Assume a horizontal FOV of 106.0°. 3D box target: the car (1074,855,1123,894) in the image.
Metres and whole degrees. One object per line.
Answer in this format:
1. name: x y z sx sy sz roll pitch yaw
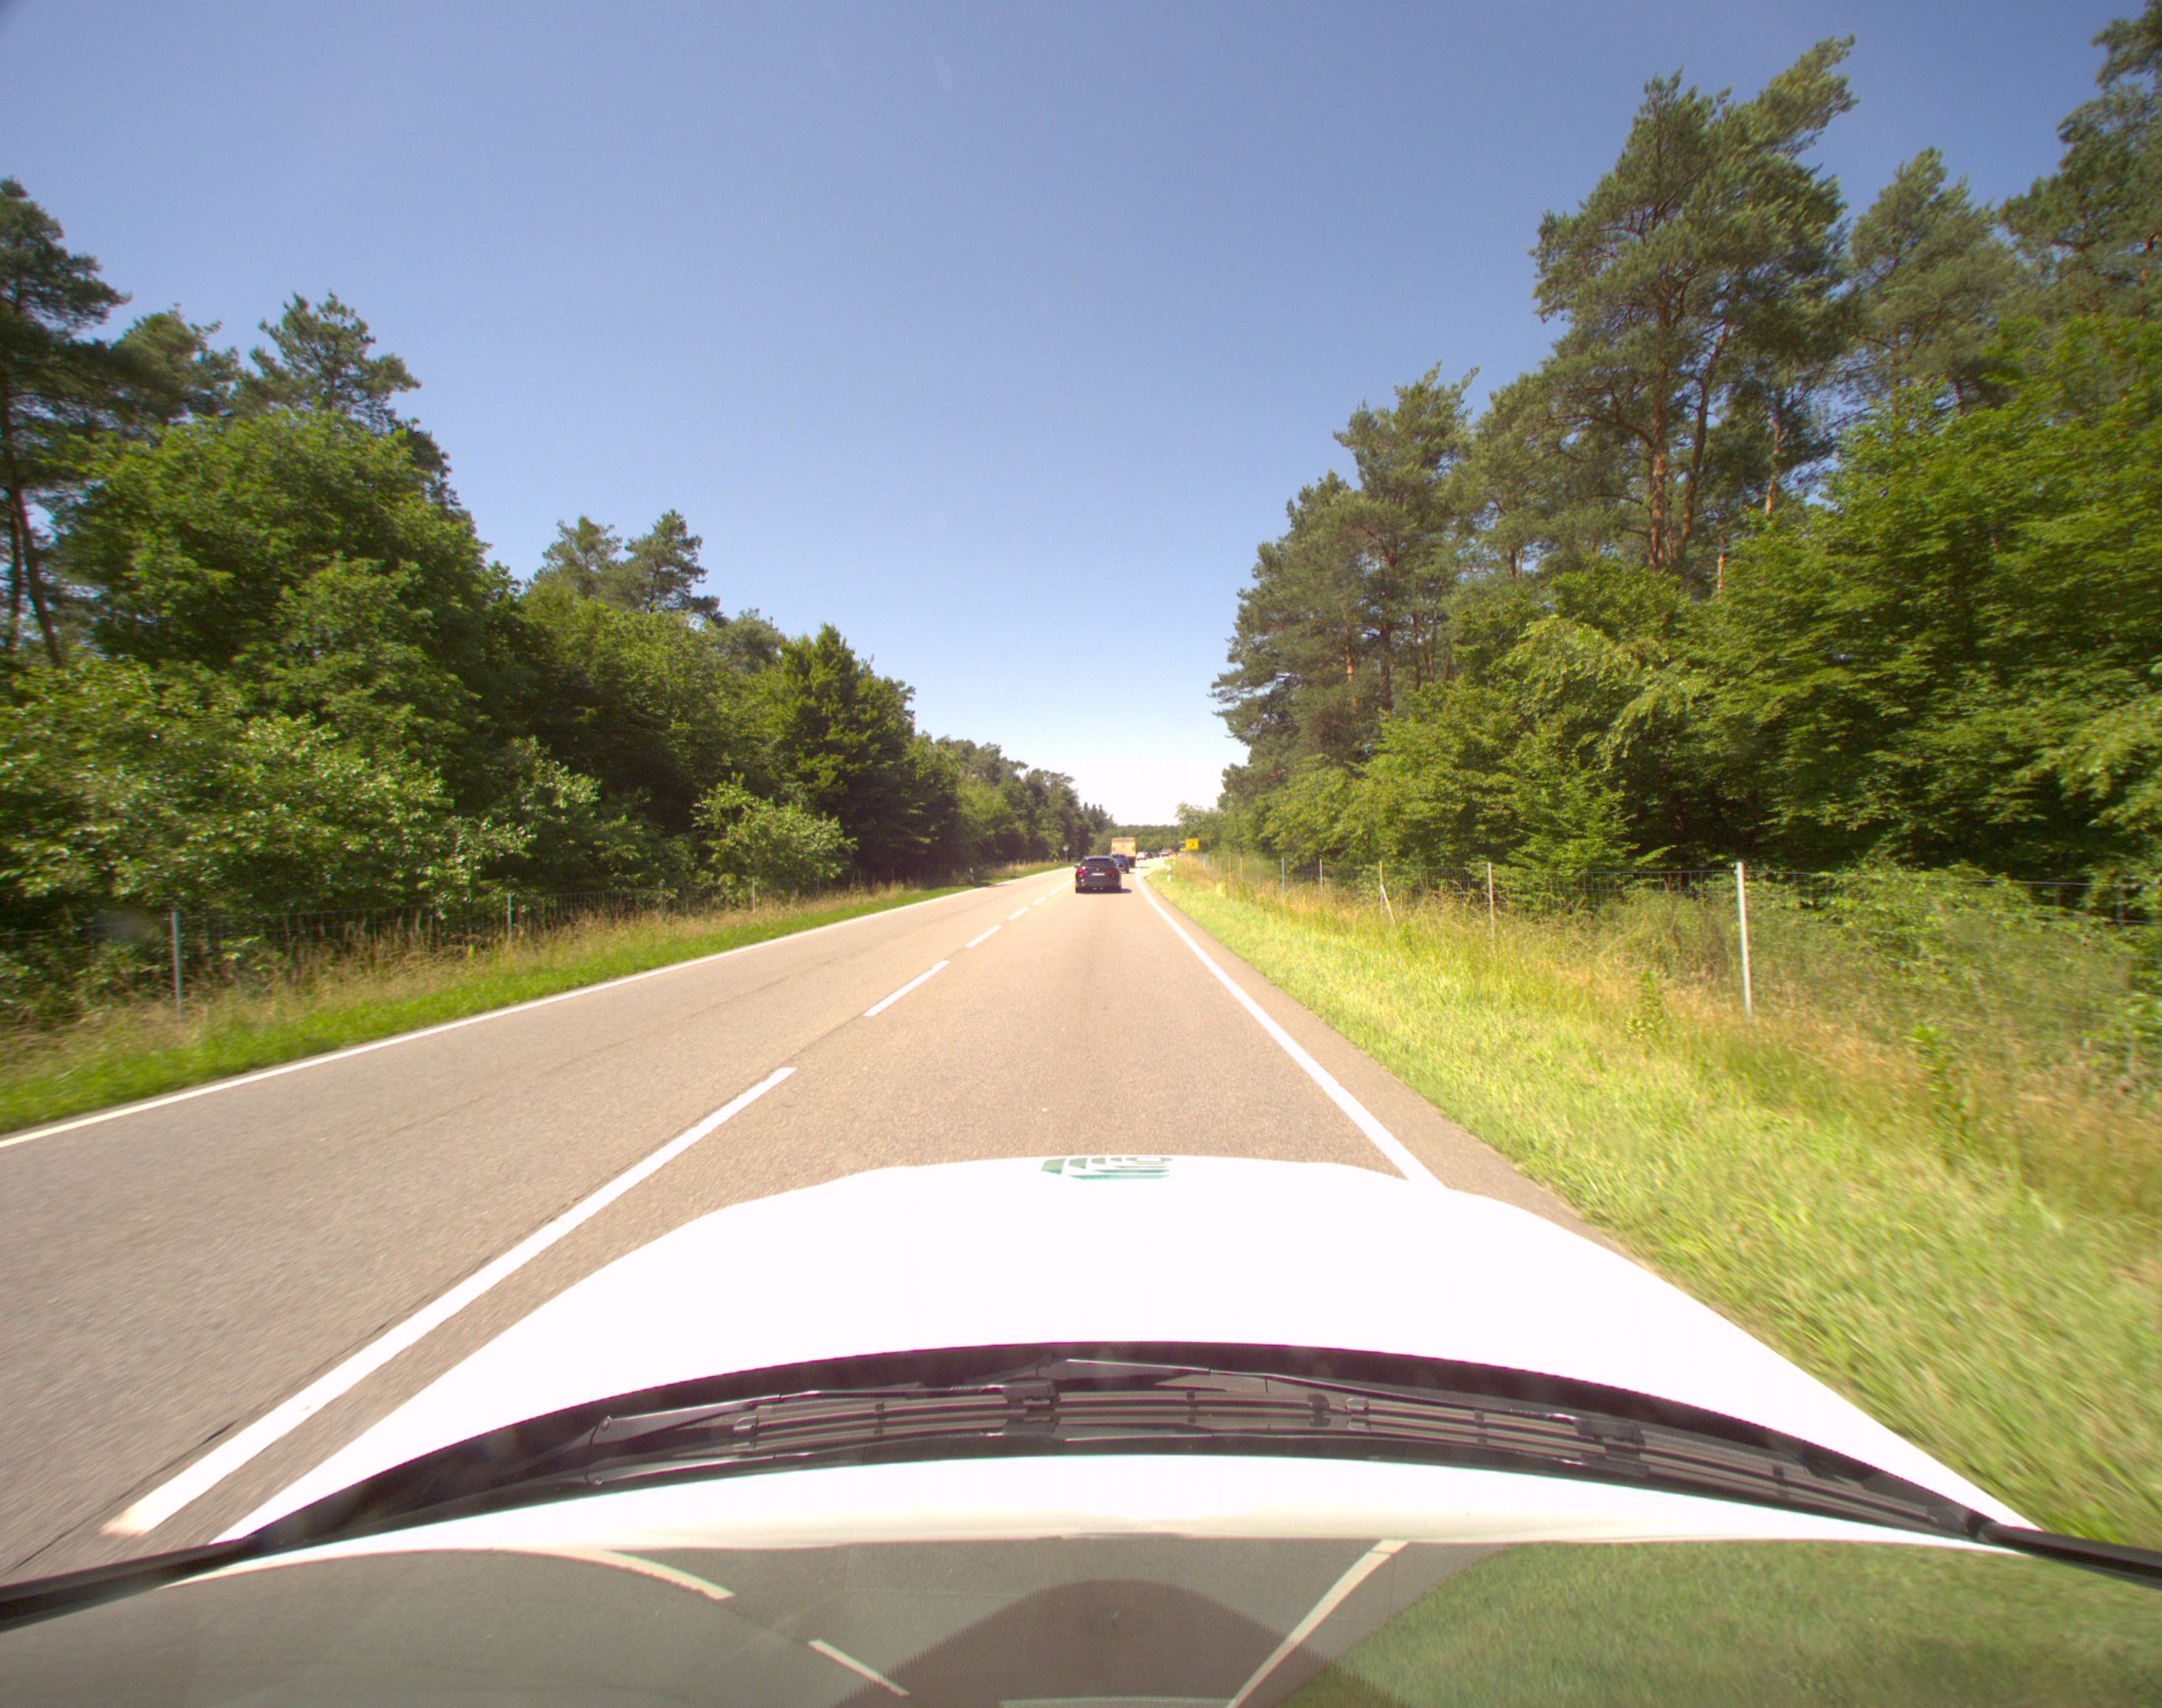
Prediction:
1. car: 0.652 0.803 33.662 1.815 1.470 3.998 -2 0 -1

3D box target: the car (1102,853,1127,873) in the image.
1. car: 2.703 0.698 65.550 1.940 1.541 4.002 -3 0 2

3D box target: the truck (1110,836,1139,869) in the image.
1. truck: 4.821 -0.134 89.194 2.952 3.387 6.446 -2 0 4

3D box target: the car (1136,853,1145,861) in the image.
1. car: 12.714 0.563 174.292 1.856 1.605 4.002 -2 0 2

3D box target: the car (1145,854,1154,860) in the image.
1. car: 17.205 0.649 204.562 1.984 1.420 4.006 -1 0 5

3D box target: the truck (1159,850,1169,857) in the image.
1. truck: 26.347 -0.090 258.288 2.555 2.202 4.974 -2 0 1

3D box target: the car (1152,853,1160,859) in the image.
1. car: 20.950 0.606 226.952 1.983 1.636 4.008 -3 0 7
